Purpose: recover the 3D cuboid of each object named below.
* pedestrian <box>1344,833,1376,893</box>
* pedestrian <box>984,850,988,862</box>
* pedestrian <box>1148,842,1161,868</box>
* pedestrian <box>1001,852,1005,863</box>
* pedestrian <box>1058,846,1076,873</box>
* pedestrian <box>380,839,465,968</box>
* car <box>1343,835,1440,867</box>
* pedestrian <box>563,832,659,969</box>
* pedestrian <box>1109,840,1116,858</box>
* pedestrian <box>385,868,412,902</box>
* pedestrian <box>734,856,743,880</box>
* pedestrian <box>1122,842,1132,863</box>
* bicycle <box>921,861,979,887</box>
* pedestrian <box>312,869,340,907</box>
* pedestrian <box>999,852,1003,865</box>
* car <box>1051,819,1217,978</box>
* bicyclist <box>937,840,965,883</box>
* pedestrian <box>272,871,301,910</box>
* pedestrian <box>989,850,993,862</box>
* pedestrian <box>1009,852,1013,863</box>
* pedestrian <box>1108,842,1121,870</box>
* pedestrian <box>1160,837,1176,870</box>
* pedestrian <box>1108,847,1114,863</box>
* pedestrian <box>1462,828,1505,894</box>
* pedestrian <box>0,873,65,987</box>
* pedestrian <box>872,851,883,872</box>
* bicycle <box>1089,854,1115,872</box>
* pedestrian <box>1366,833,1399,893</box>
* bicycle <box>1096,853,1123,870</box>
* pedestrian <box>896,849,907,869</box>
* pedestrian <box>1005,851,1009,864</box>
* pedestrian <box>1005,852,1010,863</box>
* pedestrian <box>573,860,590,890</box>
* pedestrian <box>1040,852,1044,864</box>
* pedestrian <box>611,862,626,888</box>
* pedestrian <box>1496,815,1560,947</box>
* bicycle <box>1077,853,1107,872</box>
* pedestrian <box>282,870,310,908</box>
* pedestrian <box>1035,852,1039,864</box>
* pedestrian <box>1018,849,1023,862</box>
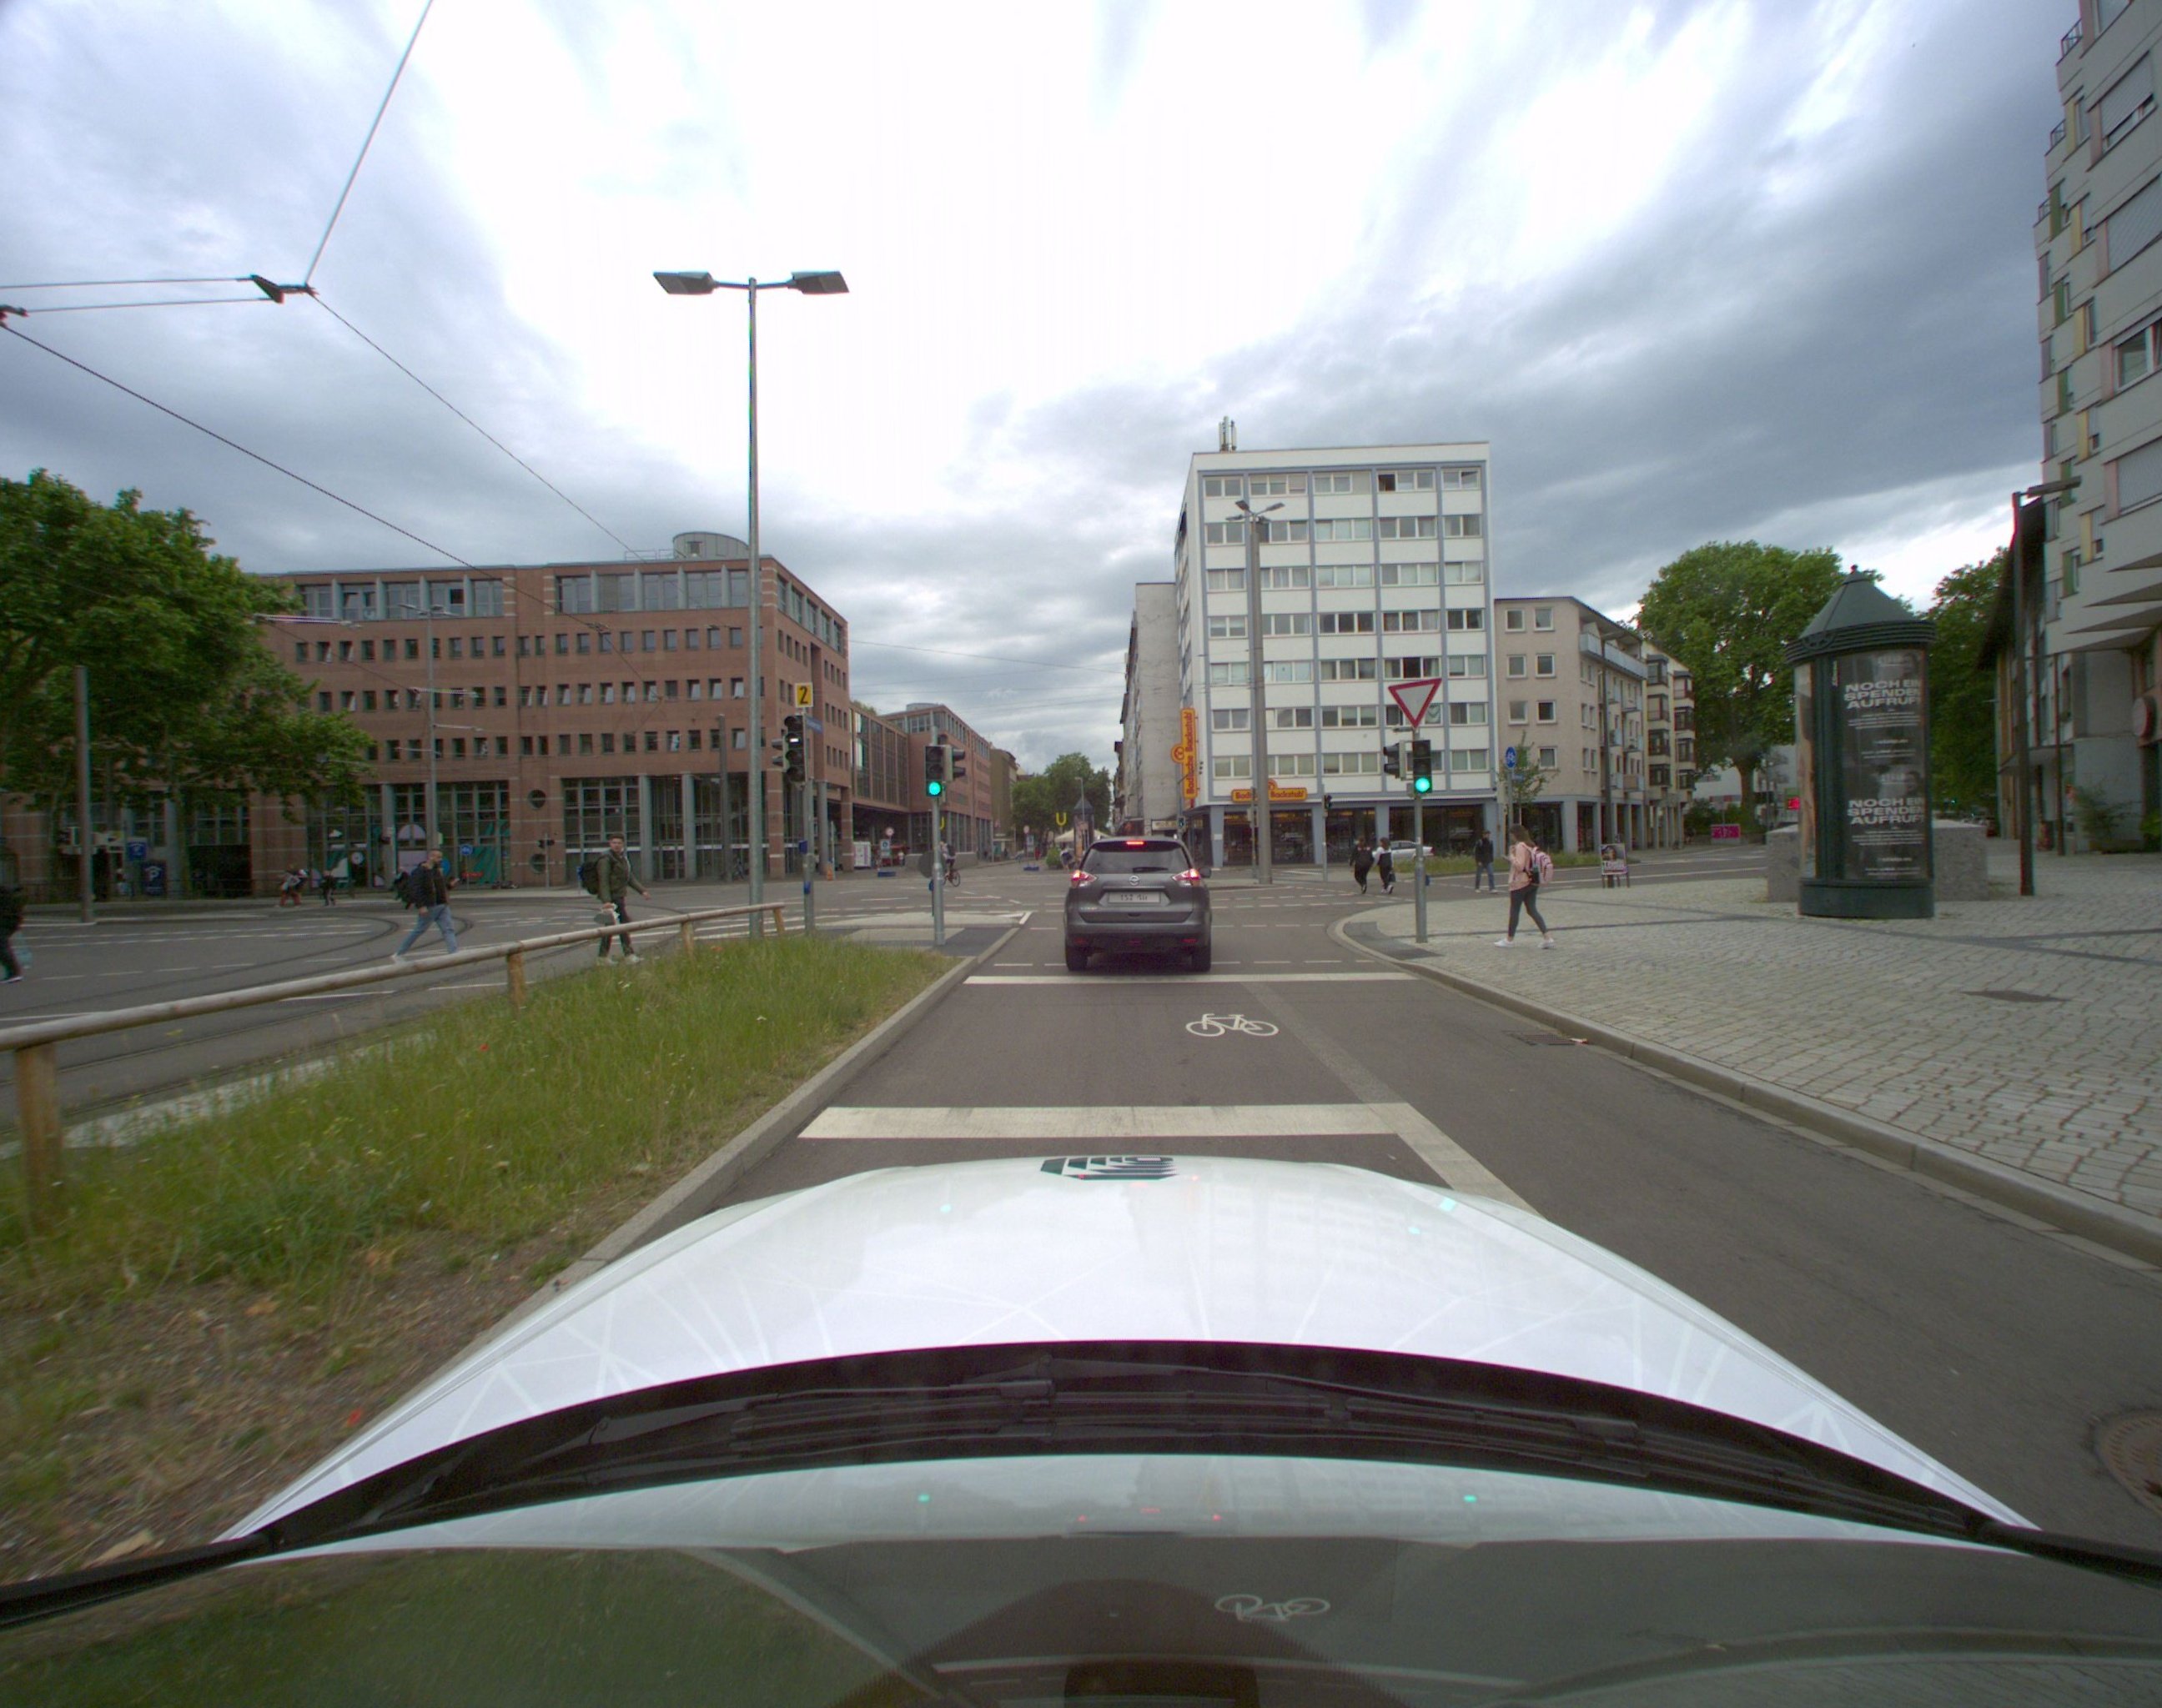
[{"bbox_3d":[8.347,0.257,24.385,0.620,1.761,0.778,-1,0,-6],"label":"pedestrian"},{"bbox_3d":[-14.289,0.273,122.452,0.599,1.714,0.654,-1,0,-6],"label":"pedestrian"},{"bbox_3d":[4.808,0.047,52.983,0.705,1.705,0.737,-1,0,14],"label":"pedestrian"},{"bbox_3d":[-11.697,0.515,122.460,0.599,1.714,0.654,-1,0,-6],"label":"pedestrian"},{"bbox_3d":[-0.927,0.369,52.305,0.918,1.705,0.738,-1,0,21],"label":"pedestrian"},{"bbox_3d":[-10.030,0.738,12.426,0.608,1.890,0.799,-1,-1,-1],"label":"pedestrian"},{"bbox_3d":[16.686,-0.156,43.870,4.538,1.481,1.748,-2,0,-1],"label":"car"},{"bbox_3d":[-6.736,0.645,11.712,0.894,1.890,0.799,0,-1,-1],"label":"pedestrian"},{"bbox_3d":[2.957,-0.459,75.614,0.640,1.705,0.559,-1,0,2],"label":"pedestrian"},{"bbox_3d":[-31.592,1.417,37.696,0.569,1.560,0.745,-1,-1,7],"label":"pedestrian"},{"bbox_3d":[-21.695,0.866,51.591,0.450,1.532,0.519,-1,0,-16],"label":"pedestrian"},{"bbox_3d":[3.941,-0.132,69.359,0.735,1.821,0.662,-2,0,-1],"label":"pedestrian"},{"bbox_3d":[-5.736,0.848,35.459,0.909,1.045,3.238,-1,0,-41],"label":"bicycle"},{"bbox_3d":[-31.991,1.431,34.516,0.571,1.574,0.628,-1,-1,-6],"label":"pedestrian"},{"bbox_3d":[-11.196,0.645,114.273,0.599,1.714,0.654,-1,0,-6],"label":"pedestrian"},{"bbox_3d":[0.853,0.522,11.640,1.854,1.775,4.575,-2,0,6],"label":"car"},{"bbox_3d":[-5.646,0.312,35.358,0.841,1.812,0.867,-1,0,-42],"label":"bicyclist"},{"bbox_3d":[-33.538,1.540,34.379,0.571,1.612,0.628,-1,-1,-6],"label":"pedestrian"},{"bbox_3d":[-13.542,0.263,122.532,0.599,1.714,0.654,-1,0,-6],"label":"pedestrian"},{"bbox_3d":[-11.005,0.540,128.259,0.599,1.714,0.654,-1,0,-6],"label":"pedestrian"},{"bbox_3d":[2.190,0.132,52.582,0.731,1.745,0.662,-1,0,-6],"label":"pedestrian"},{"bbox_3d":[4.865,-0.021,45.615,0.712,1.832,1.015,-1,0,-6],"label":"pedestrian"},{"bbox_3d":[3.284,0.097,90.141,0.609,1.705,0.620,-1,0,2],"label":"pedestrian"},{"bbox_3d":[11.892,0.202,24.098,0.798,1.862,1.156,-3,0,12],"label":"pedestrian"},{"bbox_3d":[-16.469,1.140,12.482,0.742,1.684,0.798,0,-1,-3],"label":"pedestrian"},{"bbox_3d":[-18.002,0.660,72.035,0.694,1.841,0.738,-1,0,19],"label":"pedestrian"},{"bbox_3d":[1.371,0.606,53.761,1.693,1.171,0.436,-1,0,-6],"label":"bicycle"},{"bbox_3d":[9.033,0.248,24.411,0.620,1.761,0.778,-1,0,-6],"label":"pedestrian"},{"bbox_3d":[1.861,0.494,53.021,1.686,1.065,0.438,-1,0,8],"label":"bicycle"},{"bbox_3d":[-16.988,0.448,76.889,0.694,1.841,0.738,-1,0,21],"label":"pedestrian"},{"bbox_3d":[-10.240,0.461,112.353,0.599,1.714,0.654,-1,0,-6],"label":"pedestrian"},{"bbox_3d":[-11.249,0.570,124.659,0.599,1.714,0.654,-1,0,-6],"label":"pedestrian"},{"bbox_3d":[-29.330,1.230,47.823,0.745,1.688,0.569,0,-1,-25],"label":"pedestrian"},{"bbox_3d":[-5.542,0.568,115.469,0.599,1.714,0.654,-1,0,-6],"label":"pedestrian"},{"bbox_3d":[-27.883,1.244,49.091,0.745,1.560,0.569,0,-1,-25],"label":"pedestrian"},{"bbox_3d":[6.125,0.357,11.177,0.522,1.761,0.600,-1,0,-6],"label":"pedestrian"},{"bbox_3d":[0.696,0.534,52.976,1.869,1.171,0.528,-1,0,-13],"label":"bicycle"},{"bbox_3d":[-33.899,1.506,35.176,0.571,1.612,0.628,-1,-1,-6],"label":"pedestrian"},{"bbox_3d":[-6.229,0.578,115.284,0.599,1.714,0.654,-1,0,-6],"label":"pedestrian"},{"bbox_3d":[-7.276,0.144,98.322,0.599,1.536,0.654,-1,0,-6],"label":"pedestrian"}]
